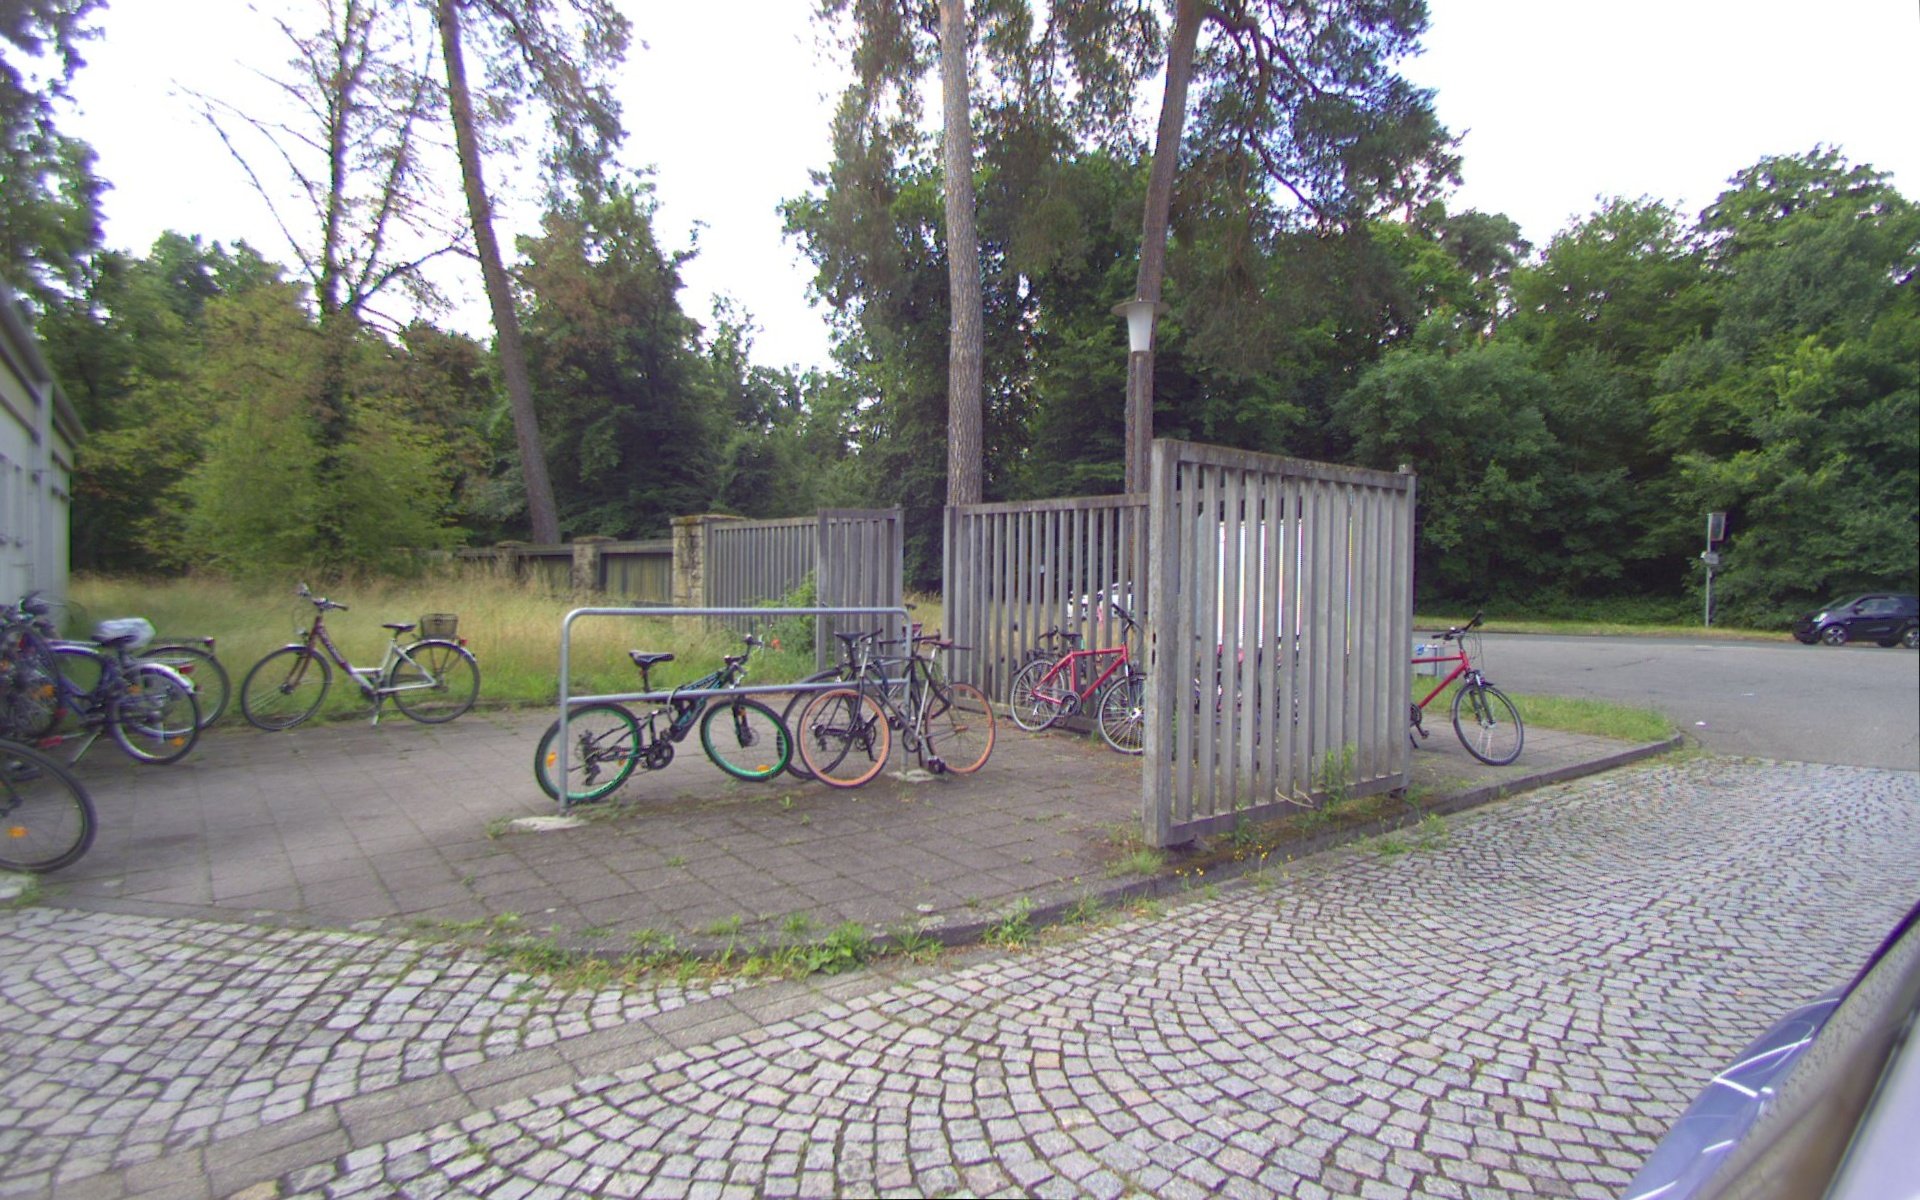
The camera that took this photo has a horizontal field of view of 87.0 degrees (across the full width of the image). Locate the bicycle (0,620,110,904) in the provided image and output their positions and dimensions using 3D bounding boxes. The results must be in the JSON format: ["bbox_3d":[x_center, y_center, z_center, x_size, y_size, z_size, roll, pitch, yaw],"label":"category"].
[{"bbox_3d":[-4.438,0.653,3.960,1.683,1.086,0.731,0,2,-40],"label":"bicycle"}]

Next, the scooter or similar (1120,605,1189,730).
[{"bbox_3d":[2.005,0.652,10.355,0.433,1.165,1.243,1,1,23],"label":"scooter or similar"}]

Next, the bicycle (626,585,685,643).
[{"bbox_3d":[-6.011,0.252,19.898,0.367,1.029,1.951,0,2,-39],"label":"bicycle"}]

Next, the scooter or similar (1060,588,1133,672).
[{"bbox_3d":[2.153,0.453,16.028,0.431,1.243,1.088,-2,4,-44],"label":"scooter or similar"}]

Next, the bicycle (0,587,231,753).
[{"bbox_3d":[-6.215,0.469,7.257,1.568,1.097,0.435,0,1,-41],"label":"bicycle"}]

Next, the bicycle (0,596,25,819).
[{"bbox_3d":[-5.920,0.554,5.610,1.634,1.185,0.433,2,3,23],"label":"bicycle"}]

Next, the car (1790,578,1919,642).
[{"bbox_3d":[26.350,0.277,28.606,3.952,1.705,1.986,2,1,21],"label":"car"}]

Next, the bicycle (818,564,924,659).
[{"bbox_3d":[-1.399,0.166,16.326,0.574,1.435,1.958,2,1,35],"label":"bicycle"}]

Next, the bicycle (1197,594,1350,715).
[{"bbox_3d":[3.429,0.561,11.209,0.610,1.177,1.613,2,1,-28],"label":"bicycle"}]

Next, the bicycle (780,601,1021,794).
[{"bbox_3d":[-0.375,0.623,7.065,1.685,1.185,0.502,1,1,-40],"label":"bicycle"}]

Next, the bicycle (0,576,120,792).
[{"bbox_3d":[-5.988,0.458,6.163,1.628,1.185,0.435,3,3,13],"label":"bicycle"}]

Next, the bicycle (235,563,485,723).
[{"bbox_3d":[-4.838,0.308,8.277,1.689,1.185,0.437,-2,3,-27],"label":"bicycle"}]

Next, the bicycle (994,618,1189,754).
[{"bbox_3d":[1.099,0.701,8.926,0.449,0.980,1.951,0,2,-38],"label":"bicycle"}]

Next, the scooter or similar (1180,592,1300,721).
[{"bbox_3d":[2.980,0.565,10.854,0.378,1.261,1.285,1,2,-32],"label":"scooter or similar"}]

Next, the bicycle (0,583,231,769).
[{"bbox_3d":[-5.769,0.479,6.717,1.624,1.132,0.436,1,3,6],"label":"bicycle"}]

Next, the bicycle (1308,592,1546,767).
[{"bbox_3d":[4.078,0.632,8.943,0.661,1.293,1.737,0,4,-43],"label":"bicycle"}]

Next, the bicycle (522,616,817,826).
[{"bbox_3d":[-1.743,0.656,6.185,1.566,1.070,0.731,0,2,-40],"label":"bicycle"}]

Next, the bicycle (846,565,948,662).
[{"bbox_3d":[-0.963,0.200,15.893,0.585,1.435,1.776,2,0,35],"label":"bicycle"}]

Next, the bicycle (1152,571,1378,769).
[{"bbox_3d":[2.466,0.496,8.438,0.506,1.434,1.908,-1,3,-34],"label":"bicycle"}]
